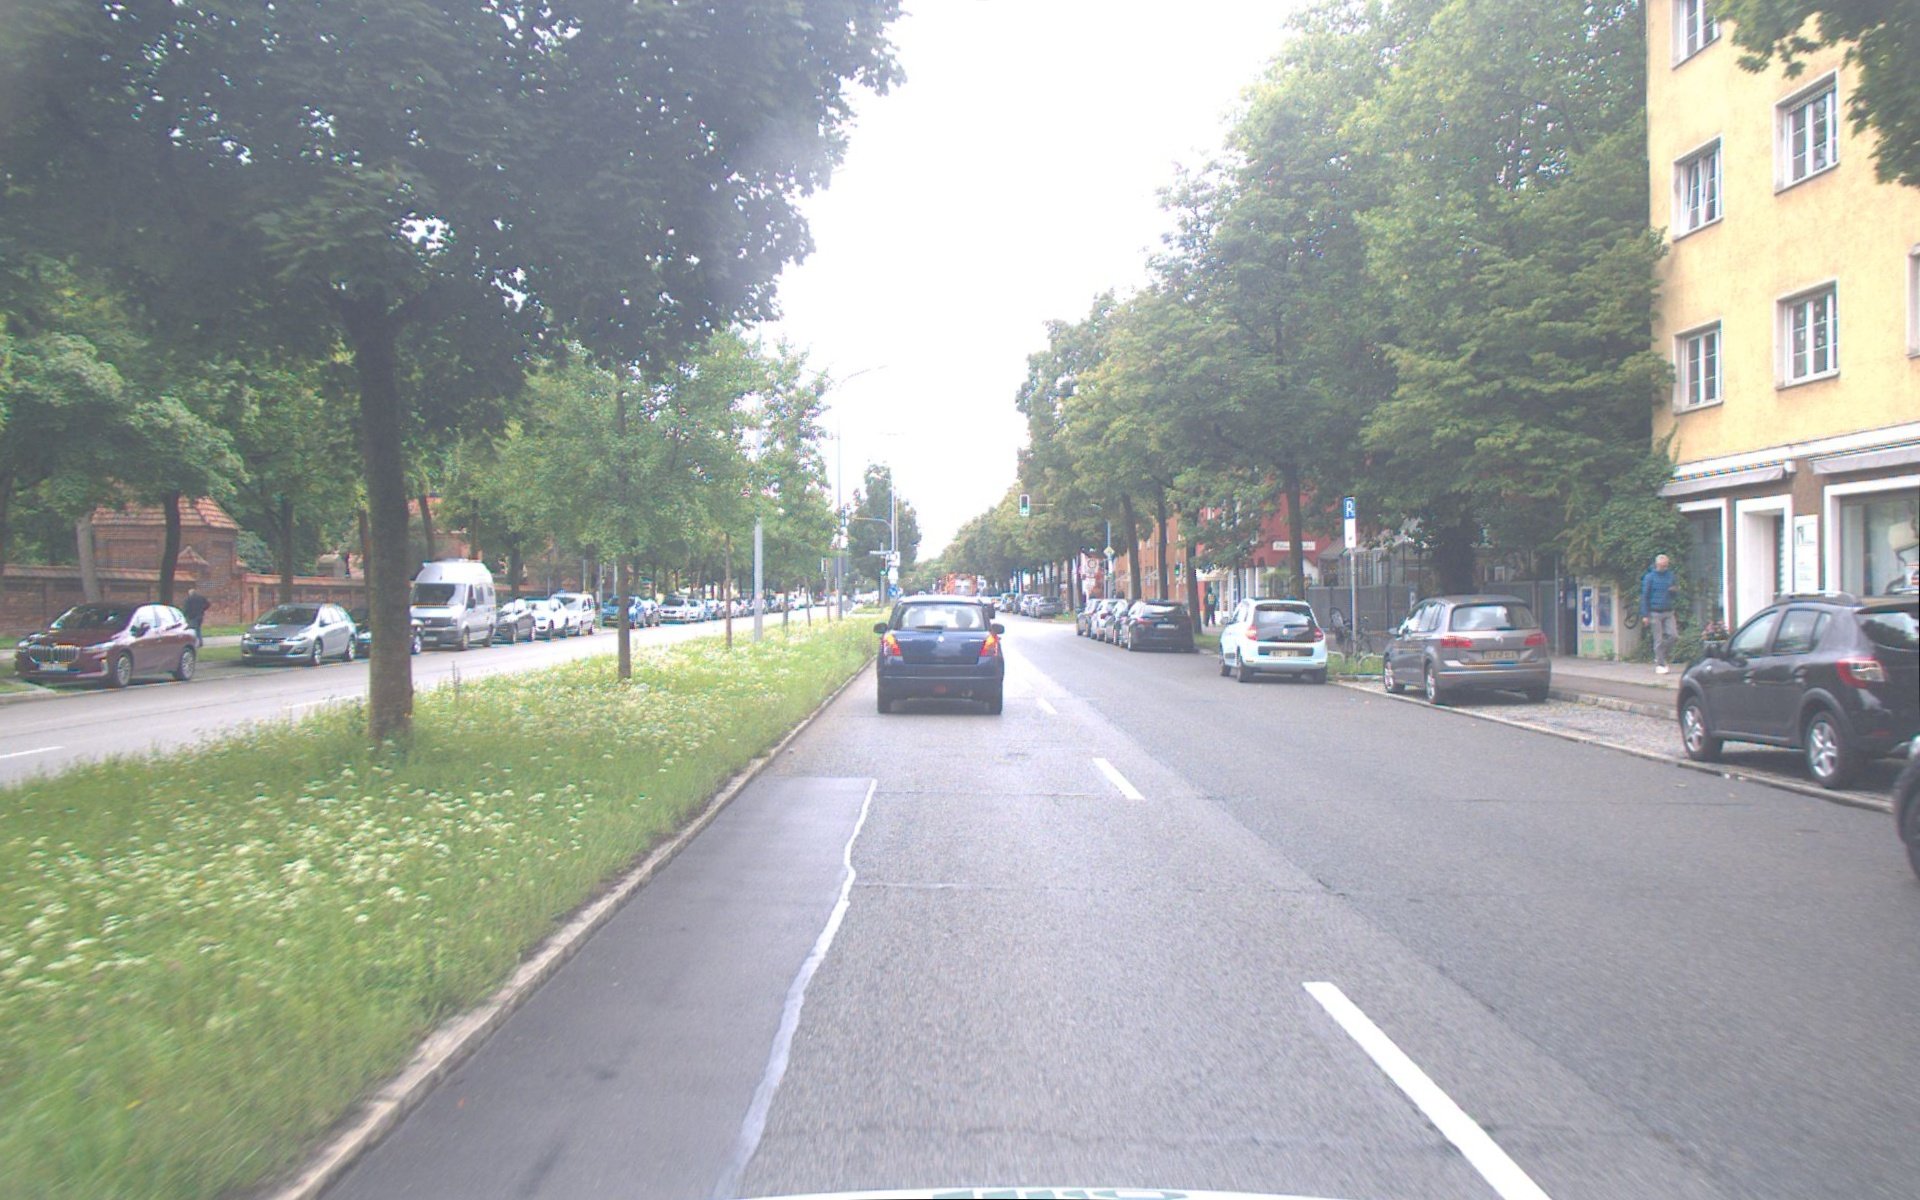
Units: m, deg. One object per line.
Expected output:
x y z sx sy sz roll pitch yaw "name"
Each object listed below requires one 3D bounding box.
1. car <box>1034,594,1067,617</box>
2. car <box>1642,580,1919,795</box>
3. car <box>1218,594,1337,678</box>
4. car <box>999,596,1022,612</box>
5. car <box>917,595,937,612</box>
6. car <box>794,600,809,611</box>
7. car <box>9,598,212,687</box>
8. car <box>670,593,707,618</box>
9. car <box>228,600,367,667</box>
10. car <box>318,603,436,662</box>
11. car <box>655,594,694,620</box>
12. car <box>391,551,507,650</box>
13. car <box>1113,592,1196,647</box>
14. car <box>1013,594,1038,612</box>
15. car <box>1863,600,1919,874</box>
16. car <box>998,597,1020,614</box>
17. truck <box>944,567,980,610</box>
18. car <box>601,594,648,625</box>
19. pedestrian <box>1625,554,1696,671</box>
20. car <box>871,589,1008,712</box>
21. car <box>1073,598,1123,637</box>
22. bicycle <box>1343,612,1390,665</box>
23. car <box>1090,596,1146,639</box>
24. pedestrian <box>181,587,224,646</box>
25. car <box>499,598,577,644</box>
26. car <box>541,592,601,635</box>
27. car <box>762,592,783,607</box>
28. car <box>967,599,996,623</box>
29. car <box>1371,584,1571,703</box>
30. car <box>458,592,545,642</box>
6.258 0.393 114.737 1.953 1.557 3.999 0 0 -1 "car"
8.086 0.669 15.057 1.953 1.671 4.332 0 0 -1 "car"
6.047 0.649 31.907 1.619 1.477 4.001 -1 0 2 "car"
4.752 0.367 155.344 1.953 1.557 3.999 0 0 -1 "car"
-2.926 0.296 147.129 1.683 1.527 4.300 1 0 -1 "car"
-22.378 0.745 233.621 1.765 1.561 3.999 0 0 -1 "car"
-16.269 0.766 31.925 1.777 1.563 4.297 1 0 -2 "car"
-17.565 0.327 106.991 1.765 1.561 3.999 0 0 -1 "car"
-16.520 0.797 41.463 1.777 1.563 4.440 1 0 -2 "car"
-16.568 0.885 47.279 1.777 1.563 4.818 1 0 -2 "car"
-17.662 0.426 102.598 1.765 1.561 3.999 0 0 -1 "car"
-16.589 0.010 54.075 2.142 3.005 6.188 1 0 -3 "car"
5.619 0.525 48.259 1.620 1.477 4.705 -1 0 -3 "car"
5.672 0.254 143.341 1.953 1.557 3.999 0 0 -1 "car"
6.264 0.748 7.523 1.954 1.477 3.997 0 0 -4 "car"
4.702 0.505 160.620 1.953 1.557 3.999 1 0 -1 "car"
0.207 -1.013 145.259 2.979 3.619 13.674 0 0 0 "truck"
-17.342 0.457 85.662 1.672 1.561 3.999 0 0 -1 "car"
11.630 0.199 27.481 0.776 1.888 0.776 -2 0 -4 "pedestrian"
-0.258 0.619 22.696 1.717 1.531 4.000 0 0 0 "car"
5.344 0.661 64.578 1.660 1.477 4.123 0 0 1 "car"
7.899 0.736 32.188 0.439 0.997 1.798 0 0 -1 "bicycle"
5.588 0.588 58.831 1.660 1.477 4.123 0 0 1 "car"
-20.722 0.444 45.232 0.761 1.594 0.792 0 0 35 "pedestrian"
-16.877 0.800 66.338 2.142 1.766 4.575 1 0 -3 "car"
-16.792 0.558 71.550 1.672 1.764 3.999 0 0 -1 "car"
-19.562 -0.021 172.955 1.765 1.561 3.999 0 0 -1 "car"
1.471 0.713 112.518 1.784 1.503 4.690 2 0 -1 "car"
7.838 0.614 25.801 1.778 1.654 4.307 -1 0 0 "car"
-16.875 0.597 61.086 2.142 1.766 4.575 1 0 -3 "car"
